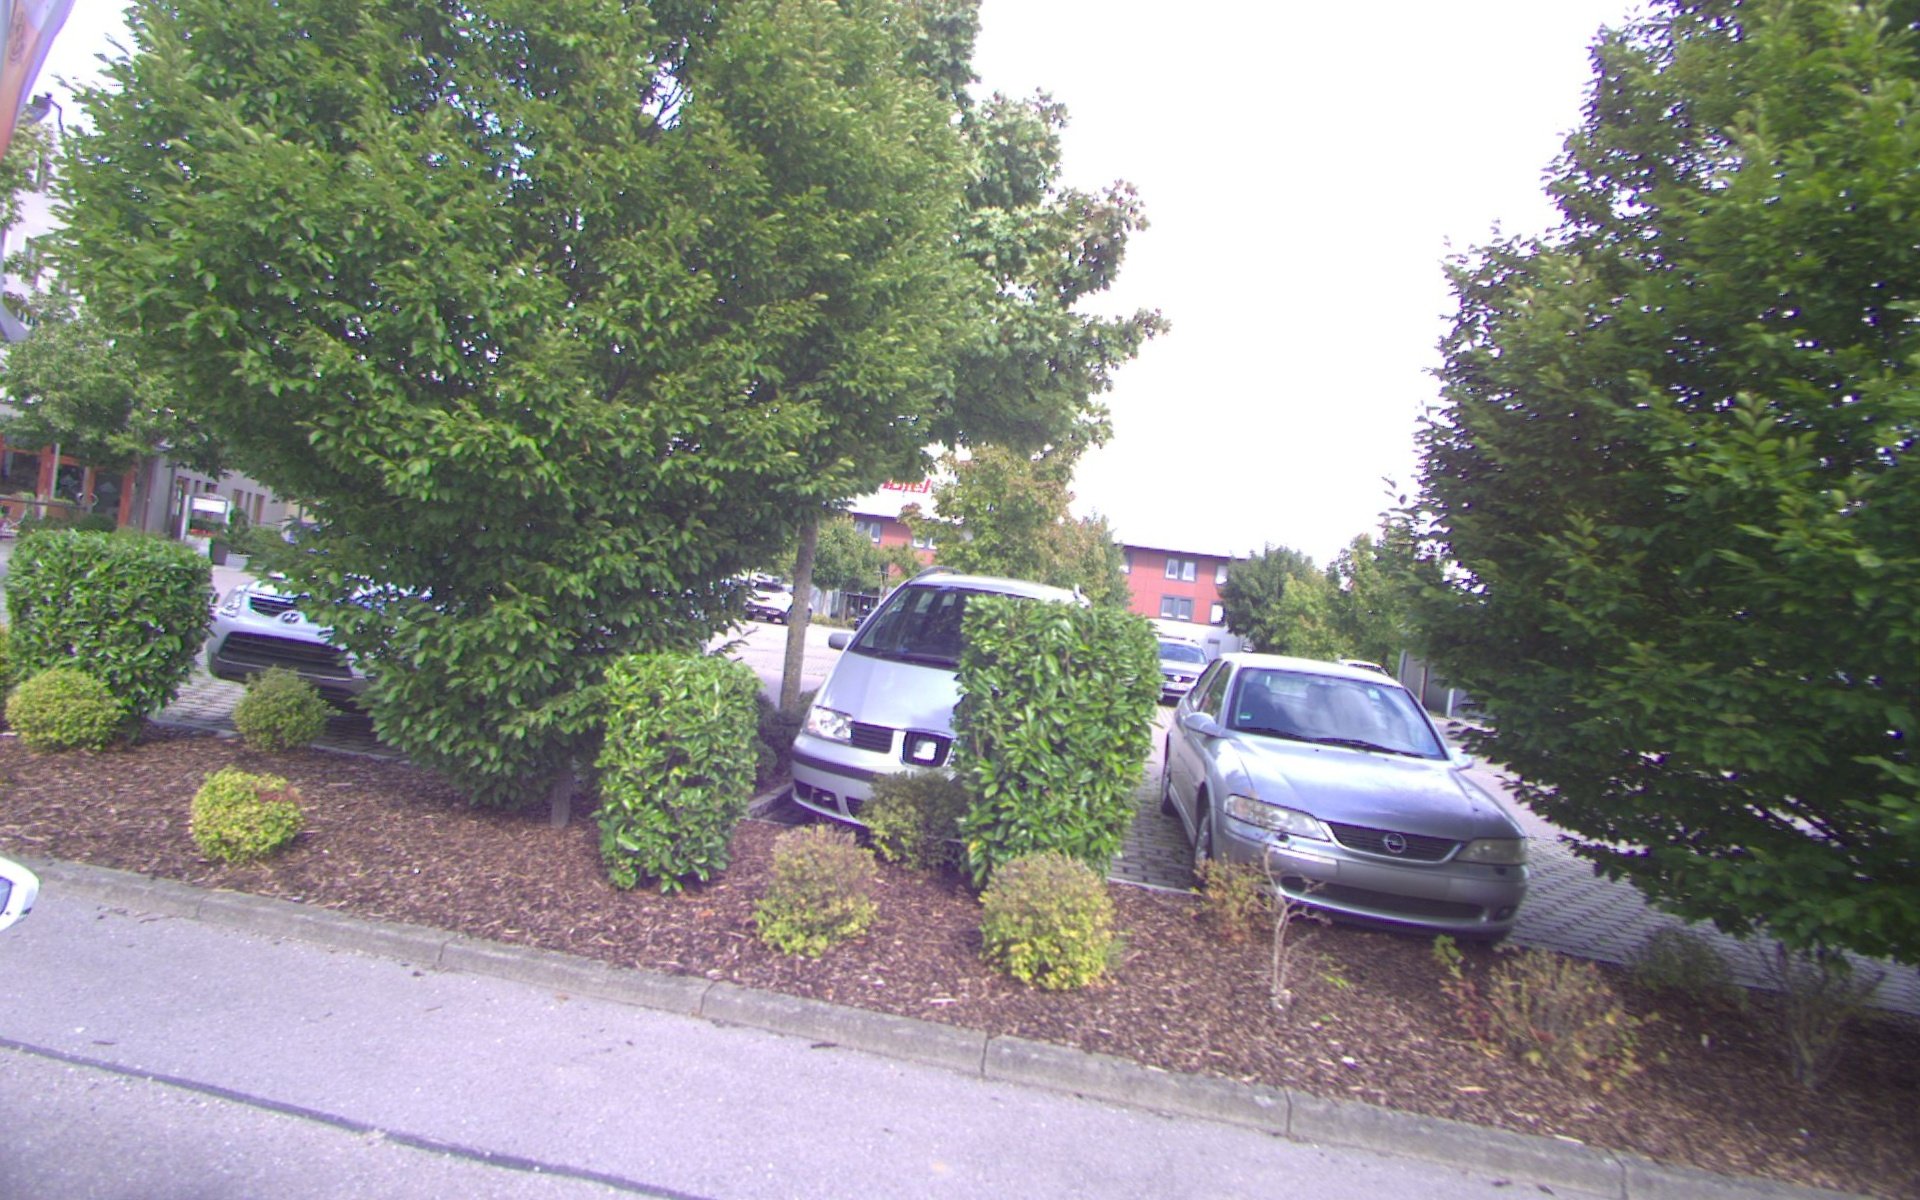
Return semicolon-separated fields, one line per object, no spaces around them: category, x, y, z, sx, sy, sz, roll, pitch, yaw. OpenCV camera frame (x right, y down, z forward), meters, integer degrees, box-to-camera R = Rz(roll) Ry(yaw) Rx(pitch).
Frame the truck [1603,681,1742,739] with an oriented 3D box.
truck;53.894;8.271;76.249;8.177;3.072;2.592;8;-1;4

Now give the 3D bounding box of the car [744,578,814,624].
car;-7.435;0.081;41.654;1.789;1.517;3.849;8;-1;5

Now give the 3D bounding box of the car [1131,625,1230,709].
car;5.205;1.579;24.234;1.962;1.589;4.004;8;-1;10

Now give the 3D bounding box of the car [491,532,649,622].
car;-10.027;-0.519;26.267;1.734;1.843;4.371;8;-1;8

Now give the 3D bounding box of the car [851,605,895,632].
car;-4.994;1.085;58.207;1.734;1.293;4.003;8;-1;5

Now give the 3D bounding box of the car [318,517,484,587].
car;-20.003;-1.694;36.051;4.982;1.731;1.752;8;-1;7

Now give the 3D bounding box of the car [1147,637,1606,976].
car;2.342;1.058;6.806;1.693;1.365;4.004;8;-1;7

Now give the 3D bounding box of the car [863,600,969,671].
car;-0.984;0.892;24.703;1.688;1.361;4.281;8;-1;8

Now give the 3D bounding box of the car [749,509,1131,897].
car;0.232;0.606;7.234;1.625;1.736;4.368;7;-1;12

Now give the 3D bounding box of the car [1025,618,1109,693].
car;2.667;1.319;24.393;1.688;1.444;4.281;8;-1;8

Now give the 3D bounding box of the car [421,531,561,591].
car;-19.331;-1.601;41.530;4.982;1.731;1.599;8;-1;7

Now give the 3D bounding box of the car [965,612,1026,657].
car;1.508;1.445;40.899;1.625;1.502;4.249;8;-1;12

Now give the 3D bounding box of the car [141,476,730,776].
car;-3.966;0.208;8.772;1.882;1.717;4.682;7;0;12

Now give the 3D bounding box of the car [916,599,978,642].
car;-0.483;0.932;43.060;1.625;1.502;4.249;8;-1;12

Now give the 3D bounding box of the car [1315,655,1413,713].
car;13.752;2.824;34.529;1.962;1.548;4.004;8;-1;7

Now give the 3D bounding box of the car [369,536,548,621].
car;-10.465;-0.389;21.265;1.598;1.367;3.376;8;-1;8
